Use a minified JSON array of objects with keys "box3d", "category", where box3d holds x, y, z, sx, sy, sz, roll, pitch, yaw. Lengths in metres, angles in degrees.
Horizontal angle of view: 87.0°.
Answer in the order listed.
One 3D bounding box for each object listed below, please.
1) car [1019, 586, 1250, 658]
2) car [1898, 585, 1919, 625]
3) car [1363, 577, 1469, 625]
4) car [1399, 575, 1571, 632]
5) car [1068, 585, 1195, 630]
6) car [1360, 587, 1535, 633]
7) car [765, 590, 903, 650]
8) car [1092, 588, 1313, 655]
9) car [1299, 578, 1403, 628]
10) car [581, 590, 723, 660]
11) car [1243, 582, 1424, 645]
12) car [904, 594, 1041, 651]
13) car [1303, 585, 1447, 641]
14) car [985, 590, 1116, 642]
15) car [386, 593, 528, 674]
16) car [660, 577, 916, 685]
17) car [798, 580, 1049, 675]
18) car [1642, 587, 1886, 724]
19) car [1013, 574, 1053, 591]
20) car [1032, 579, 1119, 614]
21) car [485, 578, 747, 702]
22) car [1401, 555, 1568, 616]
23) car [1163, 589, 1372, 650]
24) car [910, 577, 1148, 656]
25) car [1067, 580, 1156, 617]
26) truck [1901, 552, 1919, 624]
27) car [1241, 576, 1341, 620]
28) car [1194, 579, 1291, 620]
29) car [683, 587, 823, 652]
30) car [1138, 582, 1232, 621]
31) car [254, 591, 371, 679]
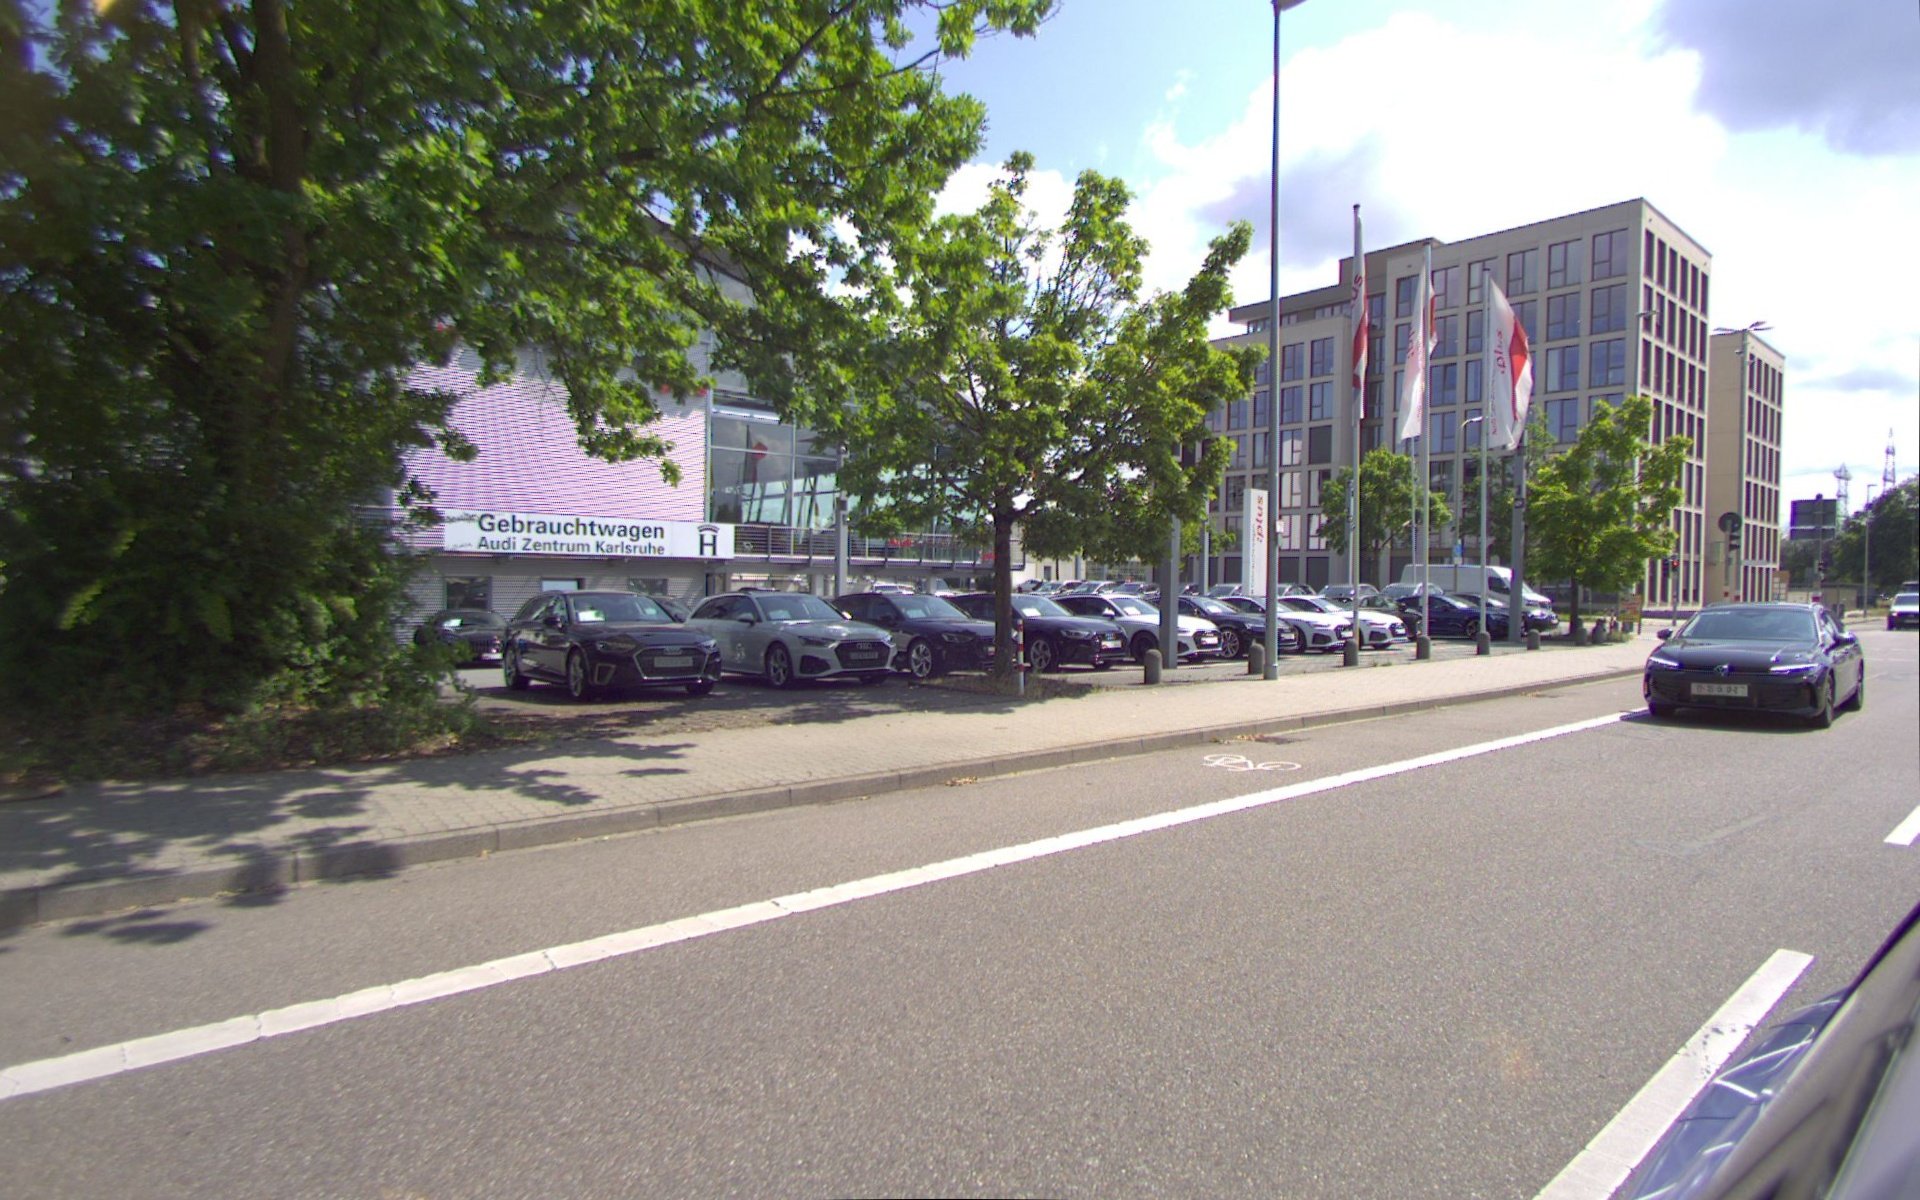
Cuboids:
[{"box3d":[3.482,0.396,20.952,1.873,1.314,4.584,2,-1,-40],"category":"car"},{"box3d":[47.612,0.301,49.667,4.908,1.861,1.995,2,-1,-43],"category":"car"},{"box3d":[17.662,0.061,39.117,4.506,1.699,1.905,2,-1,-39],"category":"car"},{"box3d":[16.928,0.105,32.836,1.873,1.699,4.584,2,-1,-40],"category":"car"},{"box3d":[6.299,0.253,36.862,4.671,1.530,1.982,0,-2,-39],"category":"car"},{"box3d":[15.119,0.300,31.583,1.873,1.314,4.584,2,-1,-40],"category":"car"},{"box3d":[-3.694,0.510,29.120,1.874,1.517,4.355,0,2,-40],"category":"car"},{"box3d":[5.284,0.426,22.569,1.873,1.314,4.584,2,-1,-40],"category":"car"},{"box3d":[15.806,0.076,40.818,4.509,1.698,1.905,-4,3,-39],"category":"car"},{"box3d":[-7.848,0.555,25.545,1.874,1.517,4.355,0,2,-40],"category":"car"},{"box3d":[9.519,0.365,26.007,1.764,1.483,3.993,0,-2,-40],"category":"car"},{"box3d":[0.325,0.632,31.458,1.874,1.517,4.355,0,2,-40],"category":"car"},{"box3d":[11.988,0.349,29.093,4.671,1.483,1.793,0,-2,-40],"category":"car"},{"box3d":[2.970,0.475,34.027,1.874,1.517,4.355,0,2,-40],"category":"car"},{"box3d":[-11.268,0.655,22.524,1.874,1.517,4.355,0,2,-40],"category":"car"},{"box3d":[-2.808,0.511,15.693,1.873,1.423,4.582,2,-3,-40],"category":"car"},{"box3d":[-0.759,0.462,17.261,1.873,1.402,4.582,2,-2,-40],"category":"car"},{"box3d":[10.969,0.639,13.645,5.115,1.496,1.811,1,0,-43],"category":"car"},{"box3d":[7.862,-1.914,109.125,1.965,1.705,3.994,2,-1,-41],"category":"car"},{"box3d":[6.100,-0.151,53.135,4.506,1.699,1.905,2,-1,-39],"category":"car"},{"box3d":[-4.897,0.497,13.962,1.873,1.423,4.583,2,-2,-40],"category":"car"},{"box3d":[24.606,-0.655,47.875,2.098,2.640,6.866,2,-1,-33],"category":"car"},{"box3d":[7.335,0.425,24.549,1.873,1.314,4.584,2,-1,-40],"category":"car"},{"box3d":[1.168,0.394,19.270,1.873,1.314,4.581,2,-4,-40],"category":"car"},{"box3d":[7.641,-0.072,50.863,4.506,1.699,1.905,2,-1,-39],"category":"car"},{"box3d":[53.122,-0.528,54.698,9.617,3.600,2.669,2,-1,-43],"category":"truck"},{"box3d":[14.145,-0.061,43.174,4.506,1.699,1.905,2,-1,-39],"category":"car"},{"box3d":[12.615,0.010,45.064,4.506,1.699,1.905,2,-1,-39],"category":"car"},{"box3d":[-5.647,0.446,27.238,1.874,1.517,4.355,0,2,-40],"category":"car"},{"box3d":[10.570,0.071,47.325,4.506,1.699,1.905,2,-1,-39],"category":"car"},{"box3d":[-13.430,0.631,20.918,1.871,1.517,4.362,0,2,-34],"category":"car"}]
